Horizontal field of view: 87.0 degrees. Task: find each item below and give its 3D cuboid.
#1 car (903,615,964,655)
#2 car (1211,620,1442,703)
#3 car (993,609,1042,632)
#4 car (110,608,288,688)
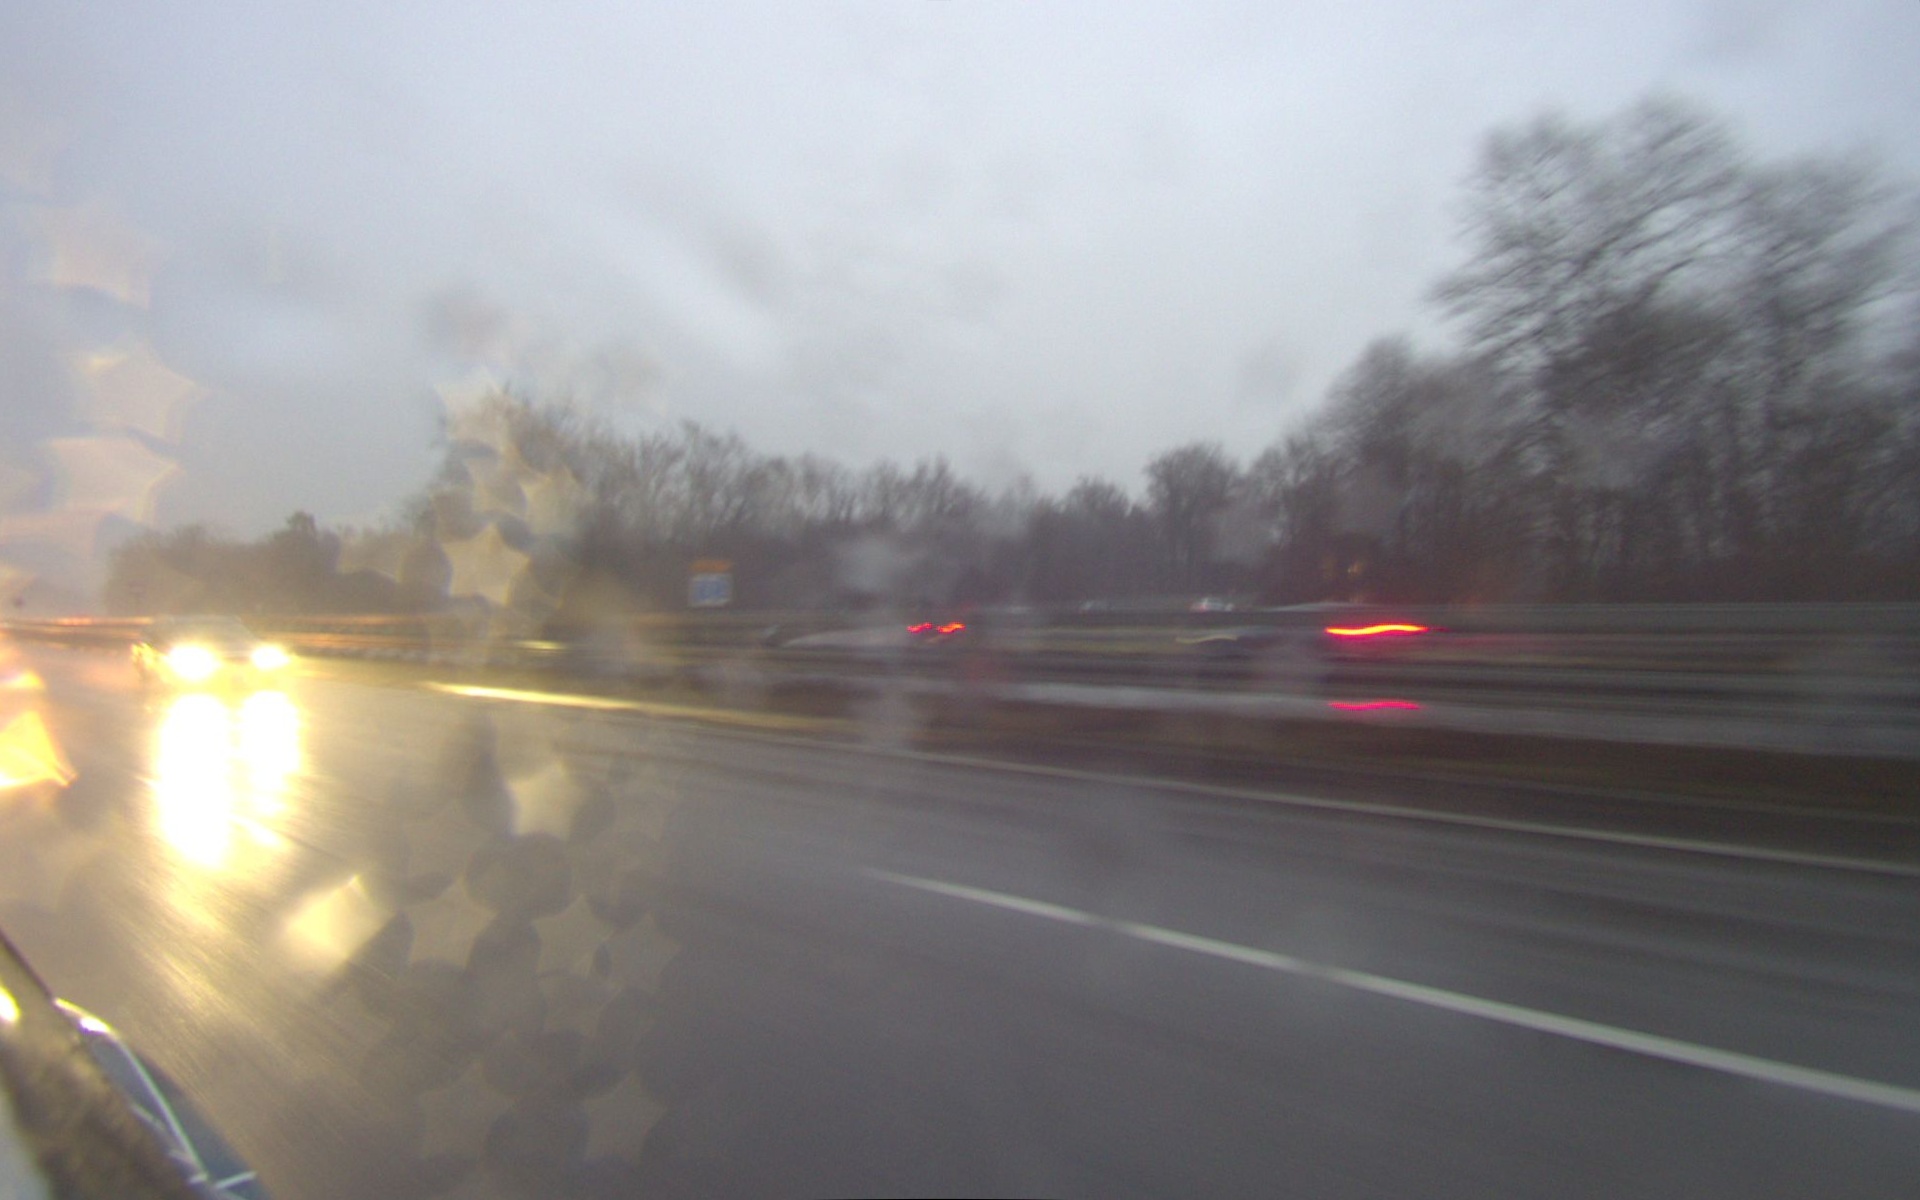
[{"bbox_3d":[-1.165,1.423,42.756,1.719,1.498,4.011,-1,0,-14],"label":"car"},{"bbox_3d":[7.829,1.245,21.983,1.721,1.498,4.438,-3,1,-38],"label":"car"},{"bbox_3d":[4.143,1.450,72.474,1.744,1.498,3.955,-1,1,33],"label":"car"},{"bbox_3d":[-15.943,0.952,21.131,4.405,1.479,1.782,-1,0,37],"label":"car"}]
